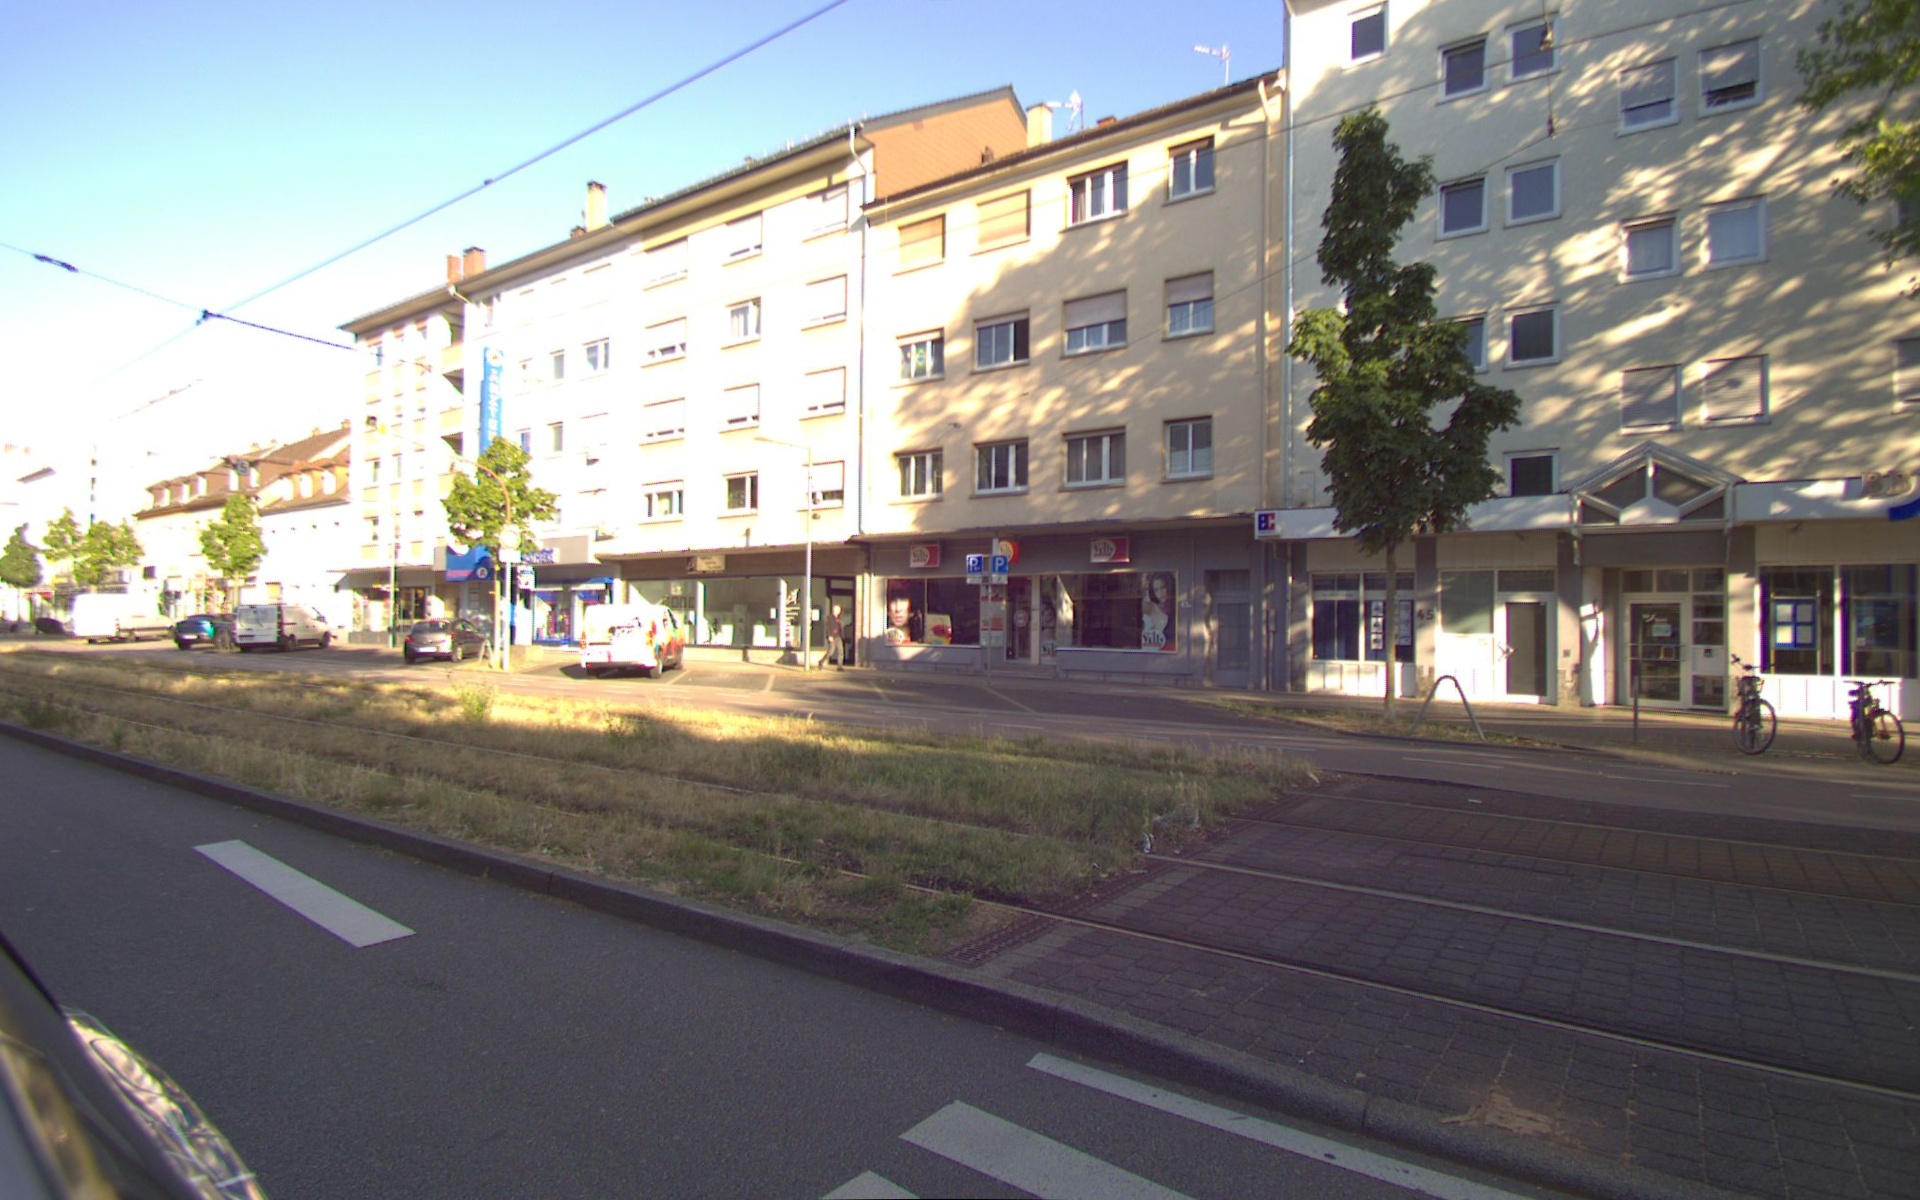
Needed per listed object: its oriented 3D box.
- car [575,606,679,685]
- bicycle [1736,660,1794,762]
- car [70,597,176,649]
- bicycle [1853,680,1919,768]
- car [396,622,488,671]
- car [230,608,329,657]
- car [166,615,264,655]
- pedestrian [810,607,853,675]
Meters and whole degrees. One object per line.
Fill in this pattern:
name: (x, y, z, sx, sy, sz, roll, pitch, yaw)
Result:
car: (-8.804, 1.144, 27.094, 1.830, 1.913, 4.005, 0, 0, -6)
bicycle: (10.300, 1.378, 12.981, 0.511, 1.147, 1.724, -1, -1, 36)
car: (-45.410, 1.210, 55.116, 1.895, 2.634, 6.608, 0, 0, -16)
bicycle: (11.335, 1.480, 12.359, 0.471, 0.895, 1.724, -1, -1, 36)
car: (-17.481, 1.519, 34.336, 1.708, 1.508, 4.009, 0, 0, -10)
car: (-28.640, 1.298, 42.753, 1.828, 1.952, 4.514, 0, 0, -10)
car: (-34.168, 1.551, 46.531, 1.830, 1.727, 3.919, 0, 0, -4)
pedestrian: (-3.538, 1.109, 27.893, 0.916, 1.841, 0.747, -1, -1, 41)
